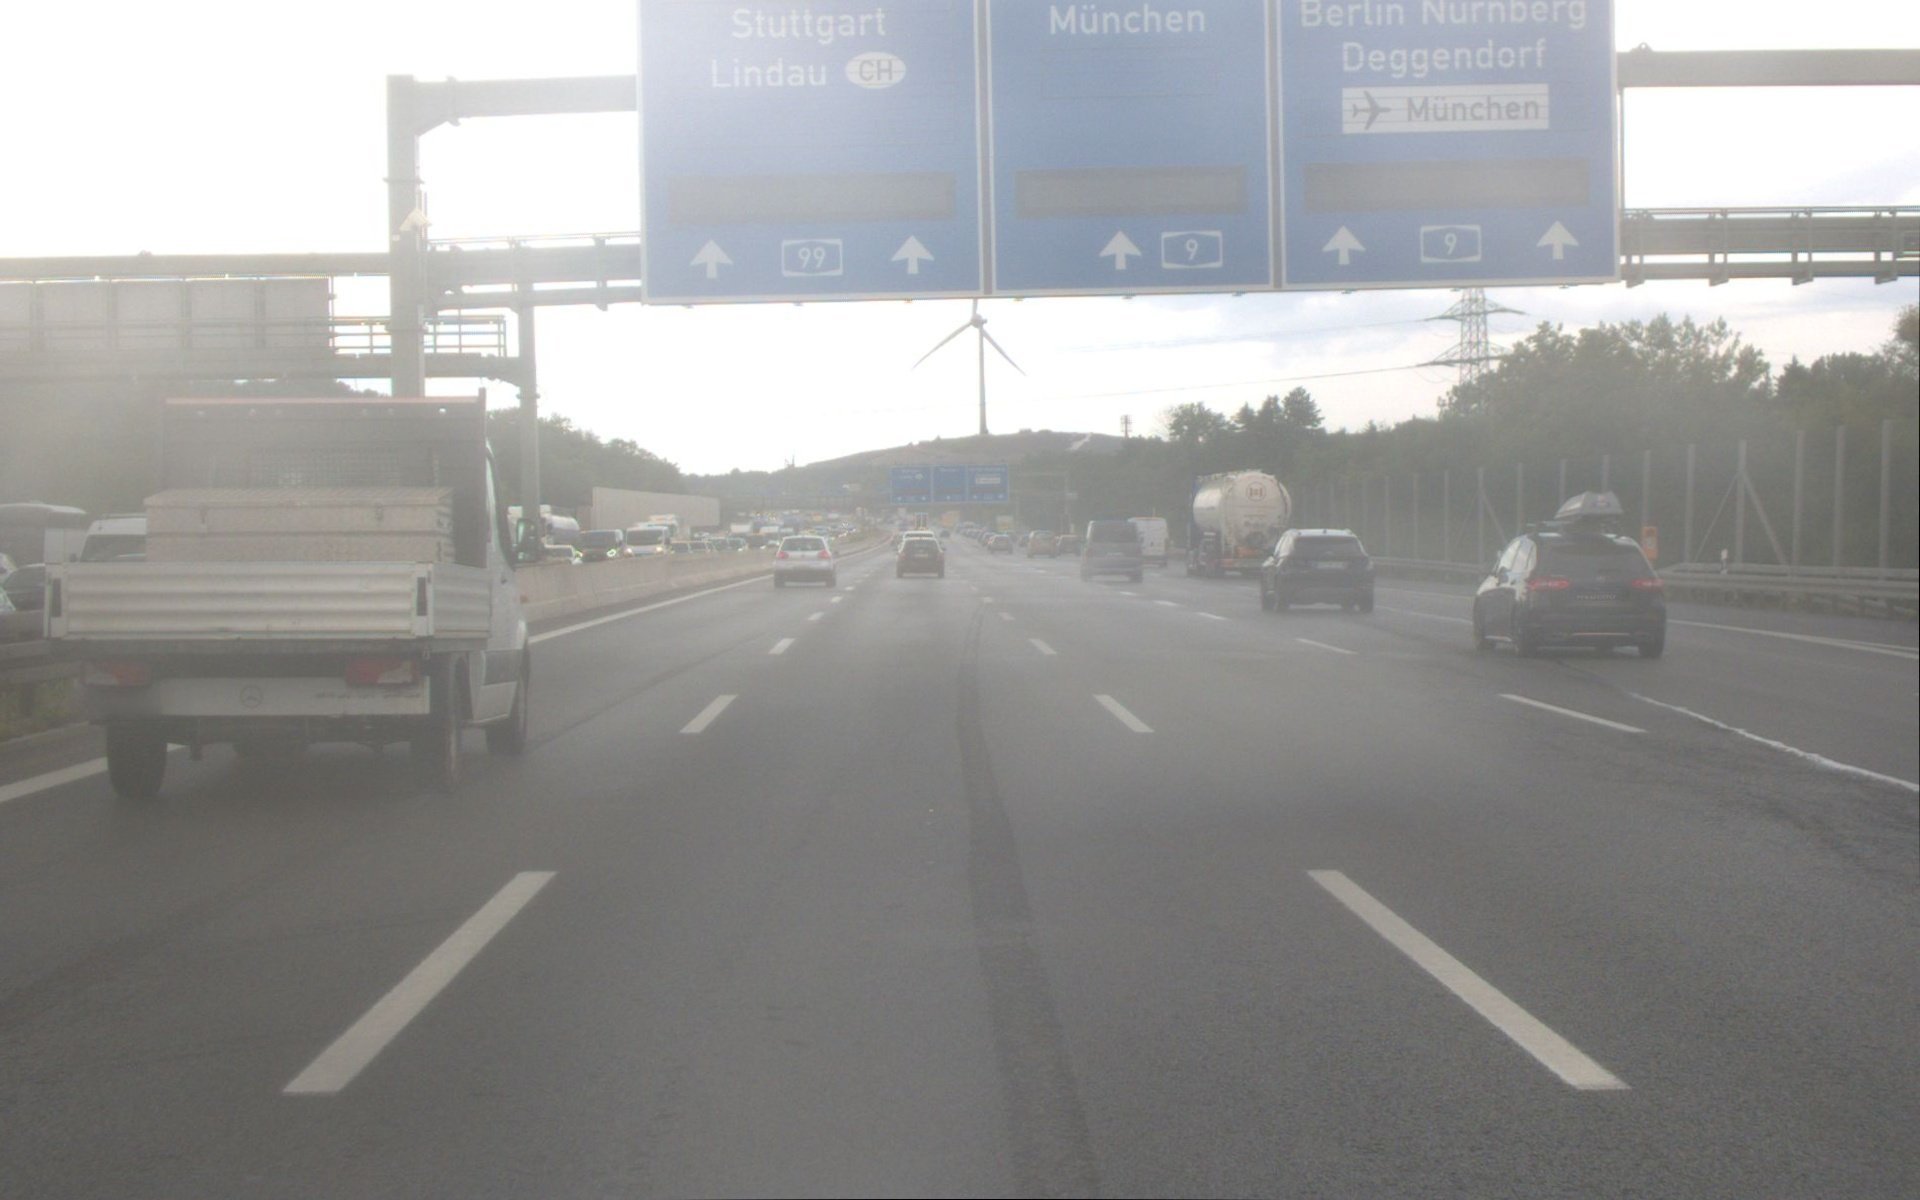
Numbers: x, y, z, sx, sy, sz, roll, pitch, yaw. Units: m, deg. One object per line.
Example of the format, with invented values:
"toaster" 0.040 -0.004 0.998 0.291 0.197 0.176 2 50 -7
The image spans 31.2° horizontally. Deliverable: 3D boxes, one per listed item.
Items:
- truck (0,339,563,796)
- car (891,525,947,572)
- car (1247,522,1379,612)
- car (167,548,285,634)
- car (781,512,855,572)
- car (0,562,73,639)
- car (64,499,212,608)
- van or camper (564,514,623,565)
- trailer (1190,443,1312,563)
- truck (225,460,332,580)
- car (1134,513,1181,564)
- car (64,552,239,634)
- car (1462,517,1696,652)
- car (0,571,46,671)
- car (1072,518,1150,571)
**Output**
"truck" -4.055 -0.252 21.924 2.353 2.400 7.359 1 1 -1
"car" -1.522 -1.893 126.375 2.045 1.693 4.000 0 1 -1
"car" 6.894 -0.678 67.535 2.045 1.693 5.007 0 1 0
"car" -22.887 -0.335 107.465 2.271 2.537 7.359 0 1 -1
"car" -4.134 -1.707 100.468 2.045 1.693 4.000 0 1 -1
"car" -18.721 -0.008 66.723 1.799 1.352 5.130 -1 1 -1
"car" -19.573 -1.145 82.134 2.203 2.480 6.066 -1 1 -1
"van or camper" -15.973 -2.653 149.970 2.095 2.178 4.971 0 1 -1
"trailer" 10.552 -3.486 125.859 3.332 4.161 11.839 0 1 0
"truck" -28.338 -3.315 143.273 3.146 4.840 8.028 0 1 -2
"car" 9.749 -3.076 170.341 2.045 2.489 4.000 0 1 -1
"car" -14.757 -0.156 63.059 2.079 1.352 5.257 -1 1 -1
"car" 7.714 -0.204 43.321 2.105 1.600 5.065 0 0 1
"car" -14.232 0.318 47.649 1.889 1.335 4.946 -1 1 -1
"car" 4.897 -1.804 111.733 2.097 1.693 4.001 0 1 -4
